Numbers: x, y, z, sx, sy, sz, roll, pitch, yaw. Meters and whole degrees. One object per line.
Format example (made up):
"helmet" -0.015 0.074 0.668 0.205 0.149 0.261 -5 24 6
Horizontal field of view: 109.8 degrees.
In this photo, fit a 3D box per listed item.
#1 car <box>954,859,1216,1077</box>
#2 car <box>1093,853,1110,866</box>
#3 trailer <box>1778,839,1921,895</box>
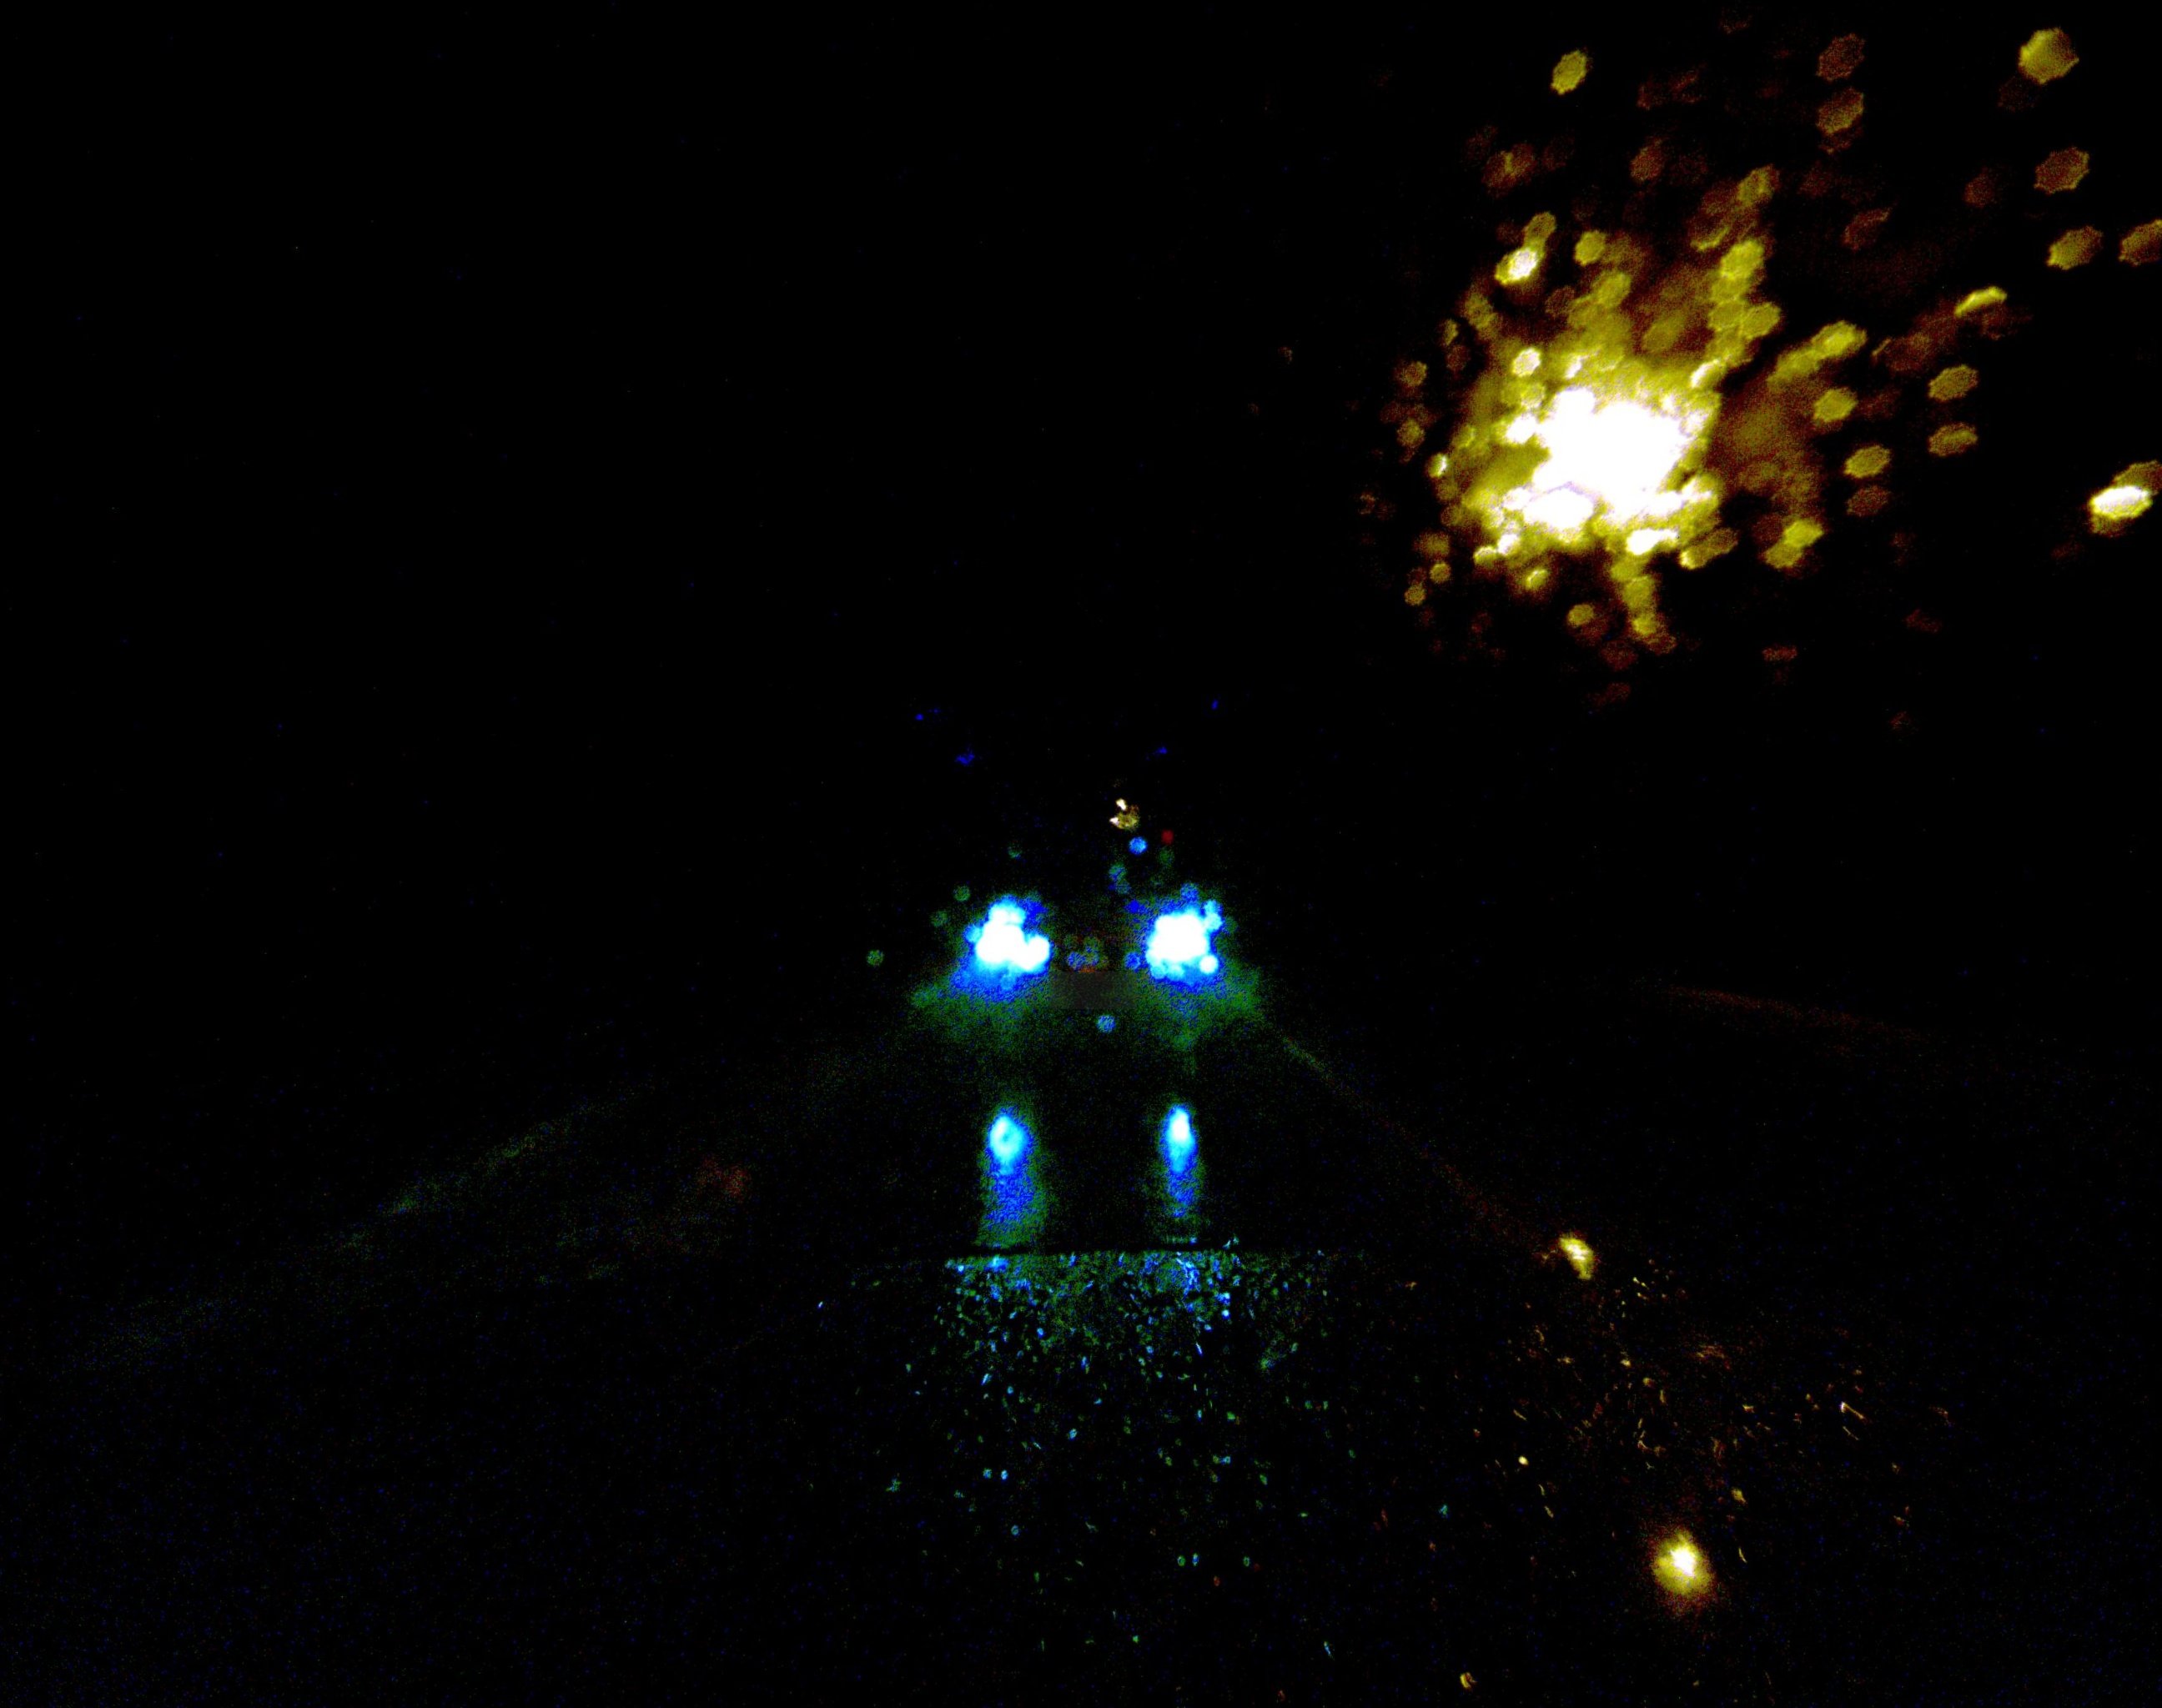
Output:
"car" 0.074 0.877 8.128 1.944 1.580 4.775 -1 0 1
"car" 2.420 0.659 88.417 1.878 1.536 4.356 1 -1 1
"trailer" 33.506 0.523 33.270 3.801 2.206 1.976 2 3 18
